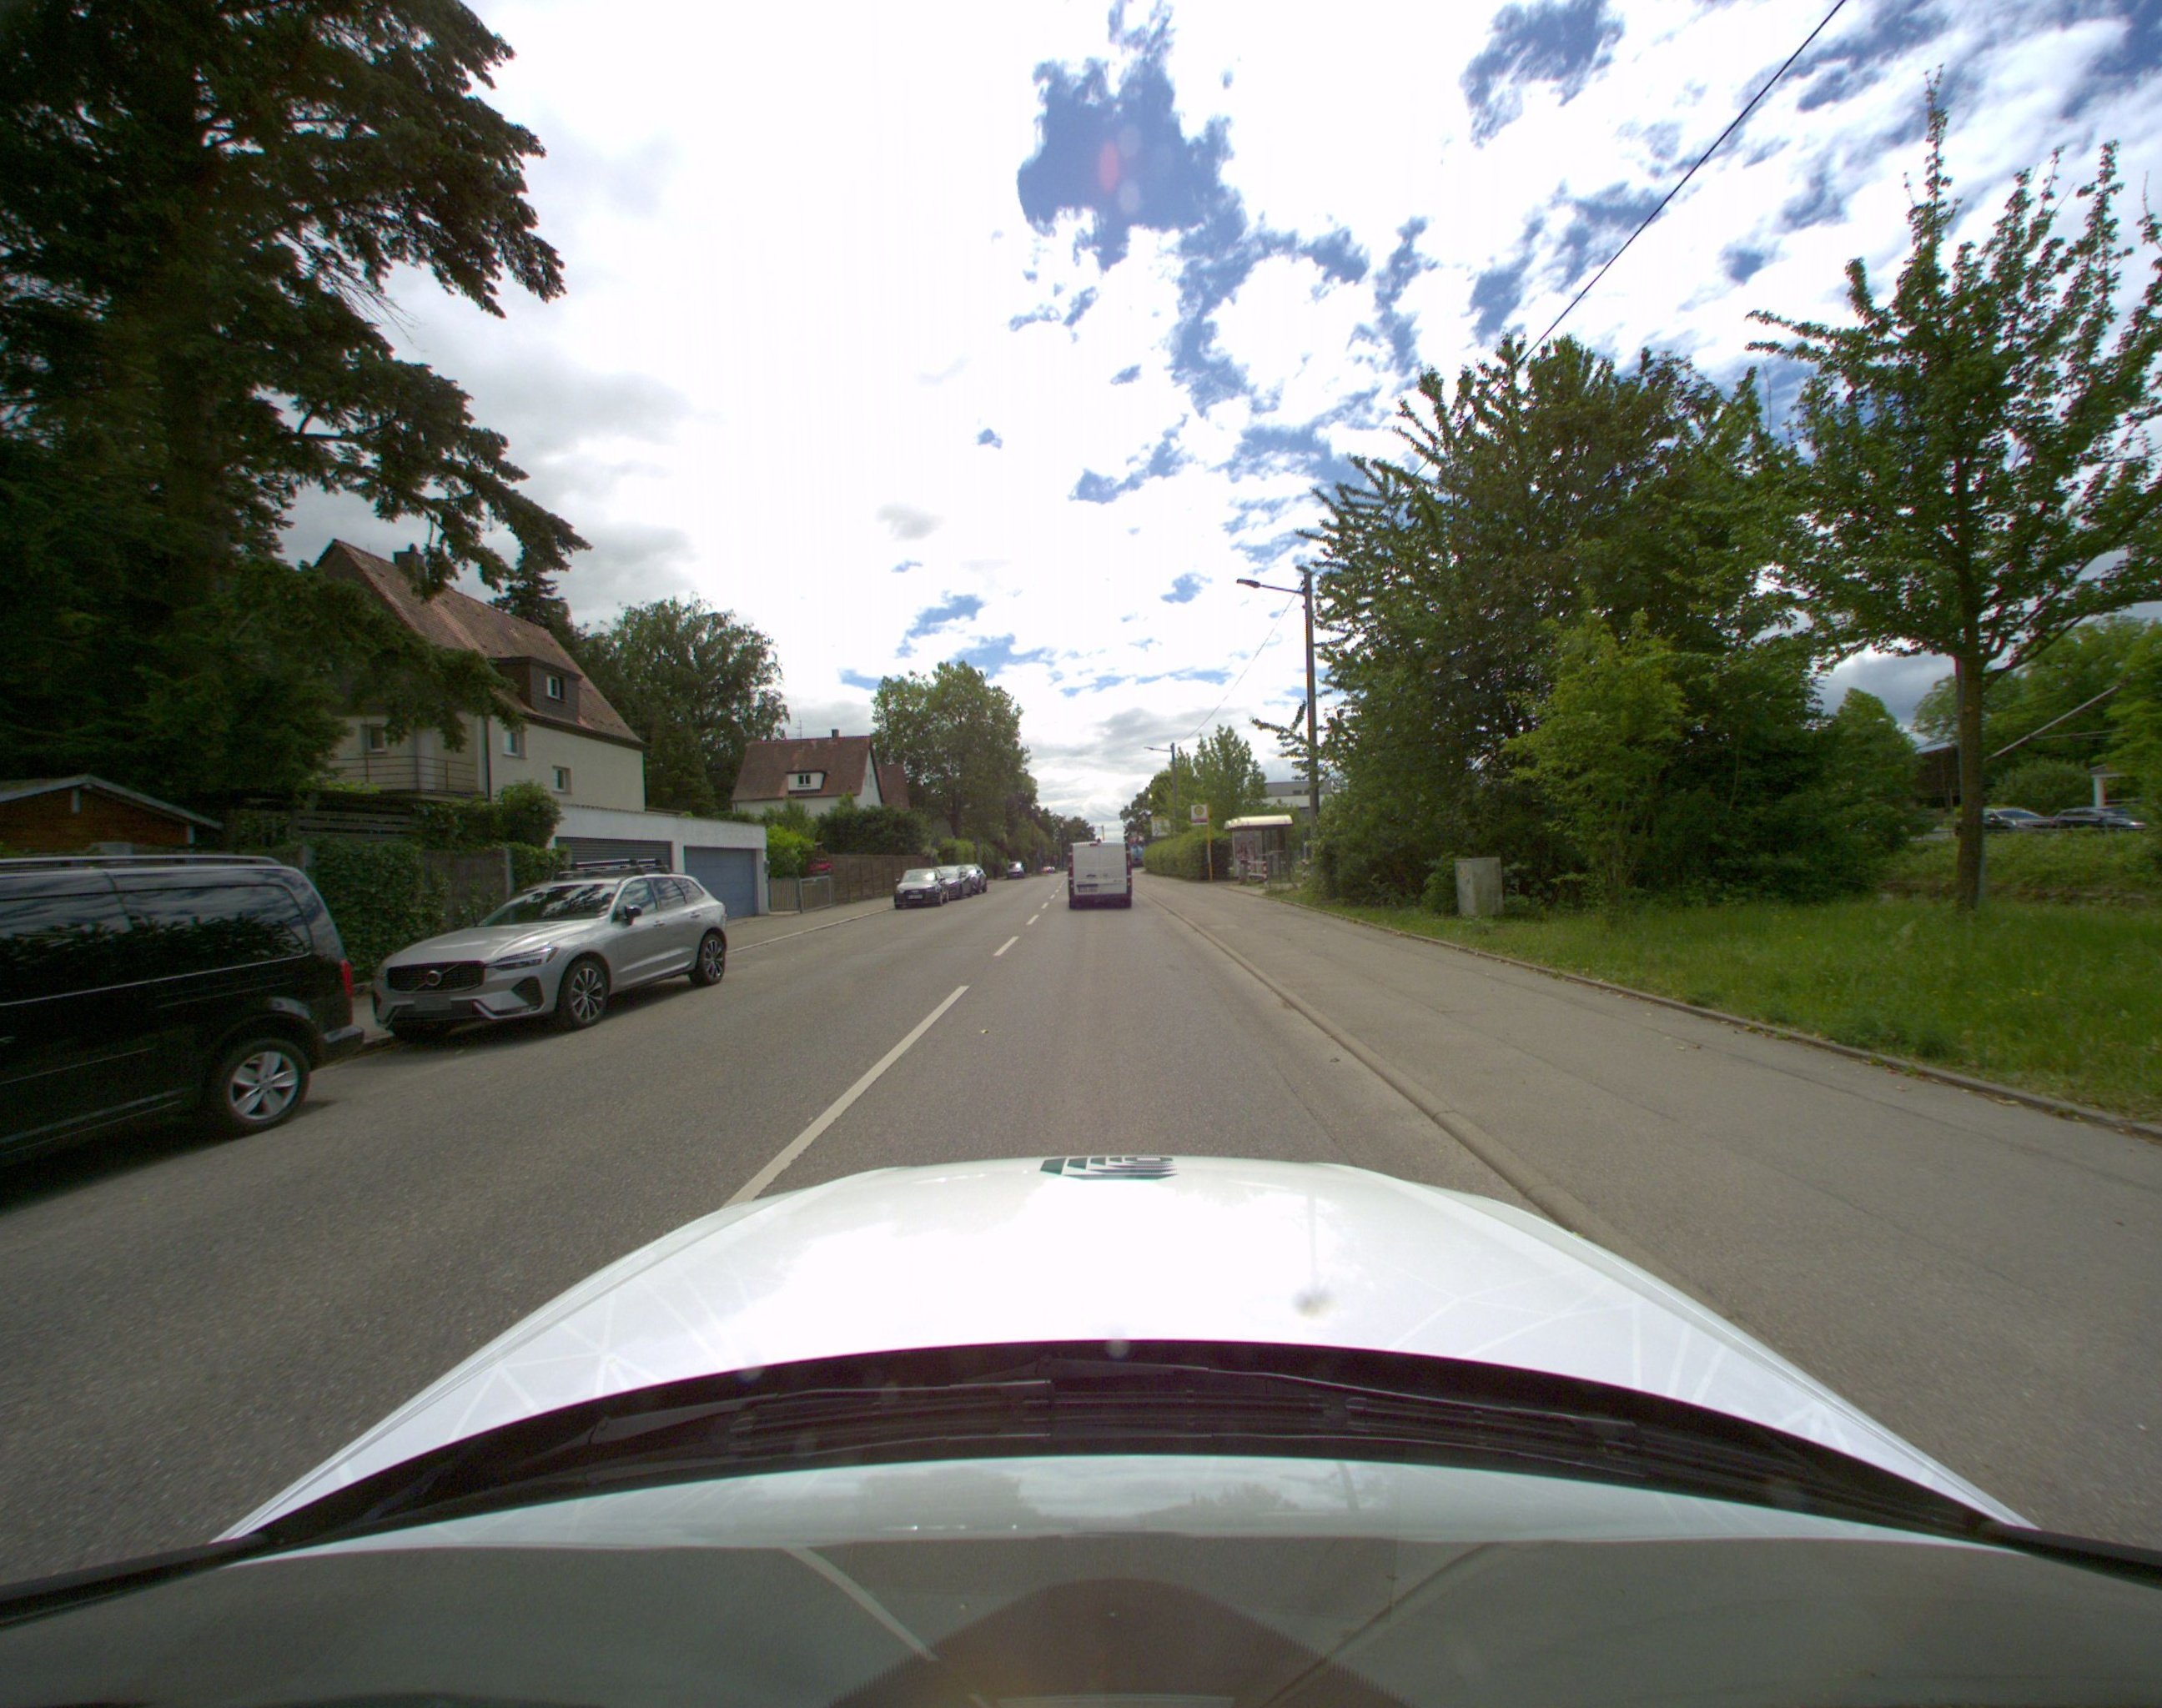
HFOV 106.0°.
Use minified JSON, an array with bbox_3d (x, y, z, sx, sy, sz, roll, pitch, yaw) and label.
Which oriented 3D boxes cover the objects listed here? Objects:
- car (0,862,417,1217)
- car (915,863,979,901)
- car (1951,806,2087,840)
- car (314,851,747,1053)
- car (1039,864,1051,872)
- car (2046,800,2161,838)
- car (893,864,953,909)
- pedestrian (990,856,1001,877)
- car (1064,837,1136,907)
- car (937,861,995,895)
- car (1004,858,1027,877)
[{"bbox_3d":[-6.453,0.959,4.155,2.060,1.754,4.884,-1,0,1],"label":"car"},{"bbox_3d":[-5.822,1.164,35.989,1.860,1.459,4.491,-3,0,2],"label":"car"},{"bbox_3d":[42.038,-1.347,36.664,1.977,1.332,4.499,-3,0,19],"label":"car"},{"bbox_3d":[-6.182,0.920,10.065,1.978,1.819,4.709,-3,0,1],"label":"car"},{"bbox_3d":[-7.483,2.917,169.918,2.063,1.386,4.034,-3,0,-9],"label":"car"},{"bbox_3d":[40.078,-1.339,30.996,1.978,1.332,4.845,-3,0,17],"label":"car"},{"bbox_3d":[-5.967,1.187,31.071,1.648,1.427,3.901,-4,0,-3],"label":"car"},{"bbox_3d":[-8.214,1.211,78.410,0.870,2.013,1.039,-4,-1,-4],"label":"pedestrian"},{"bbox_3d":[0.556,0.516,25.565,2.028,1.945,4.993,-1,0,0],"label":"car"},{"bbox_3d":[-5.799,1.170,41.515,1.985,1.479,4.650,-4,0,3],"label":"car"},{"bbox_3d":[-6.484,1.301,80.335,2.130,1.772,4.453,-1,0,-7],"label":"car"}]
